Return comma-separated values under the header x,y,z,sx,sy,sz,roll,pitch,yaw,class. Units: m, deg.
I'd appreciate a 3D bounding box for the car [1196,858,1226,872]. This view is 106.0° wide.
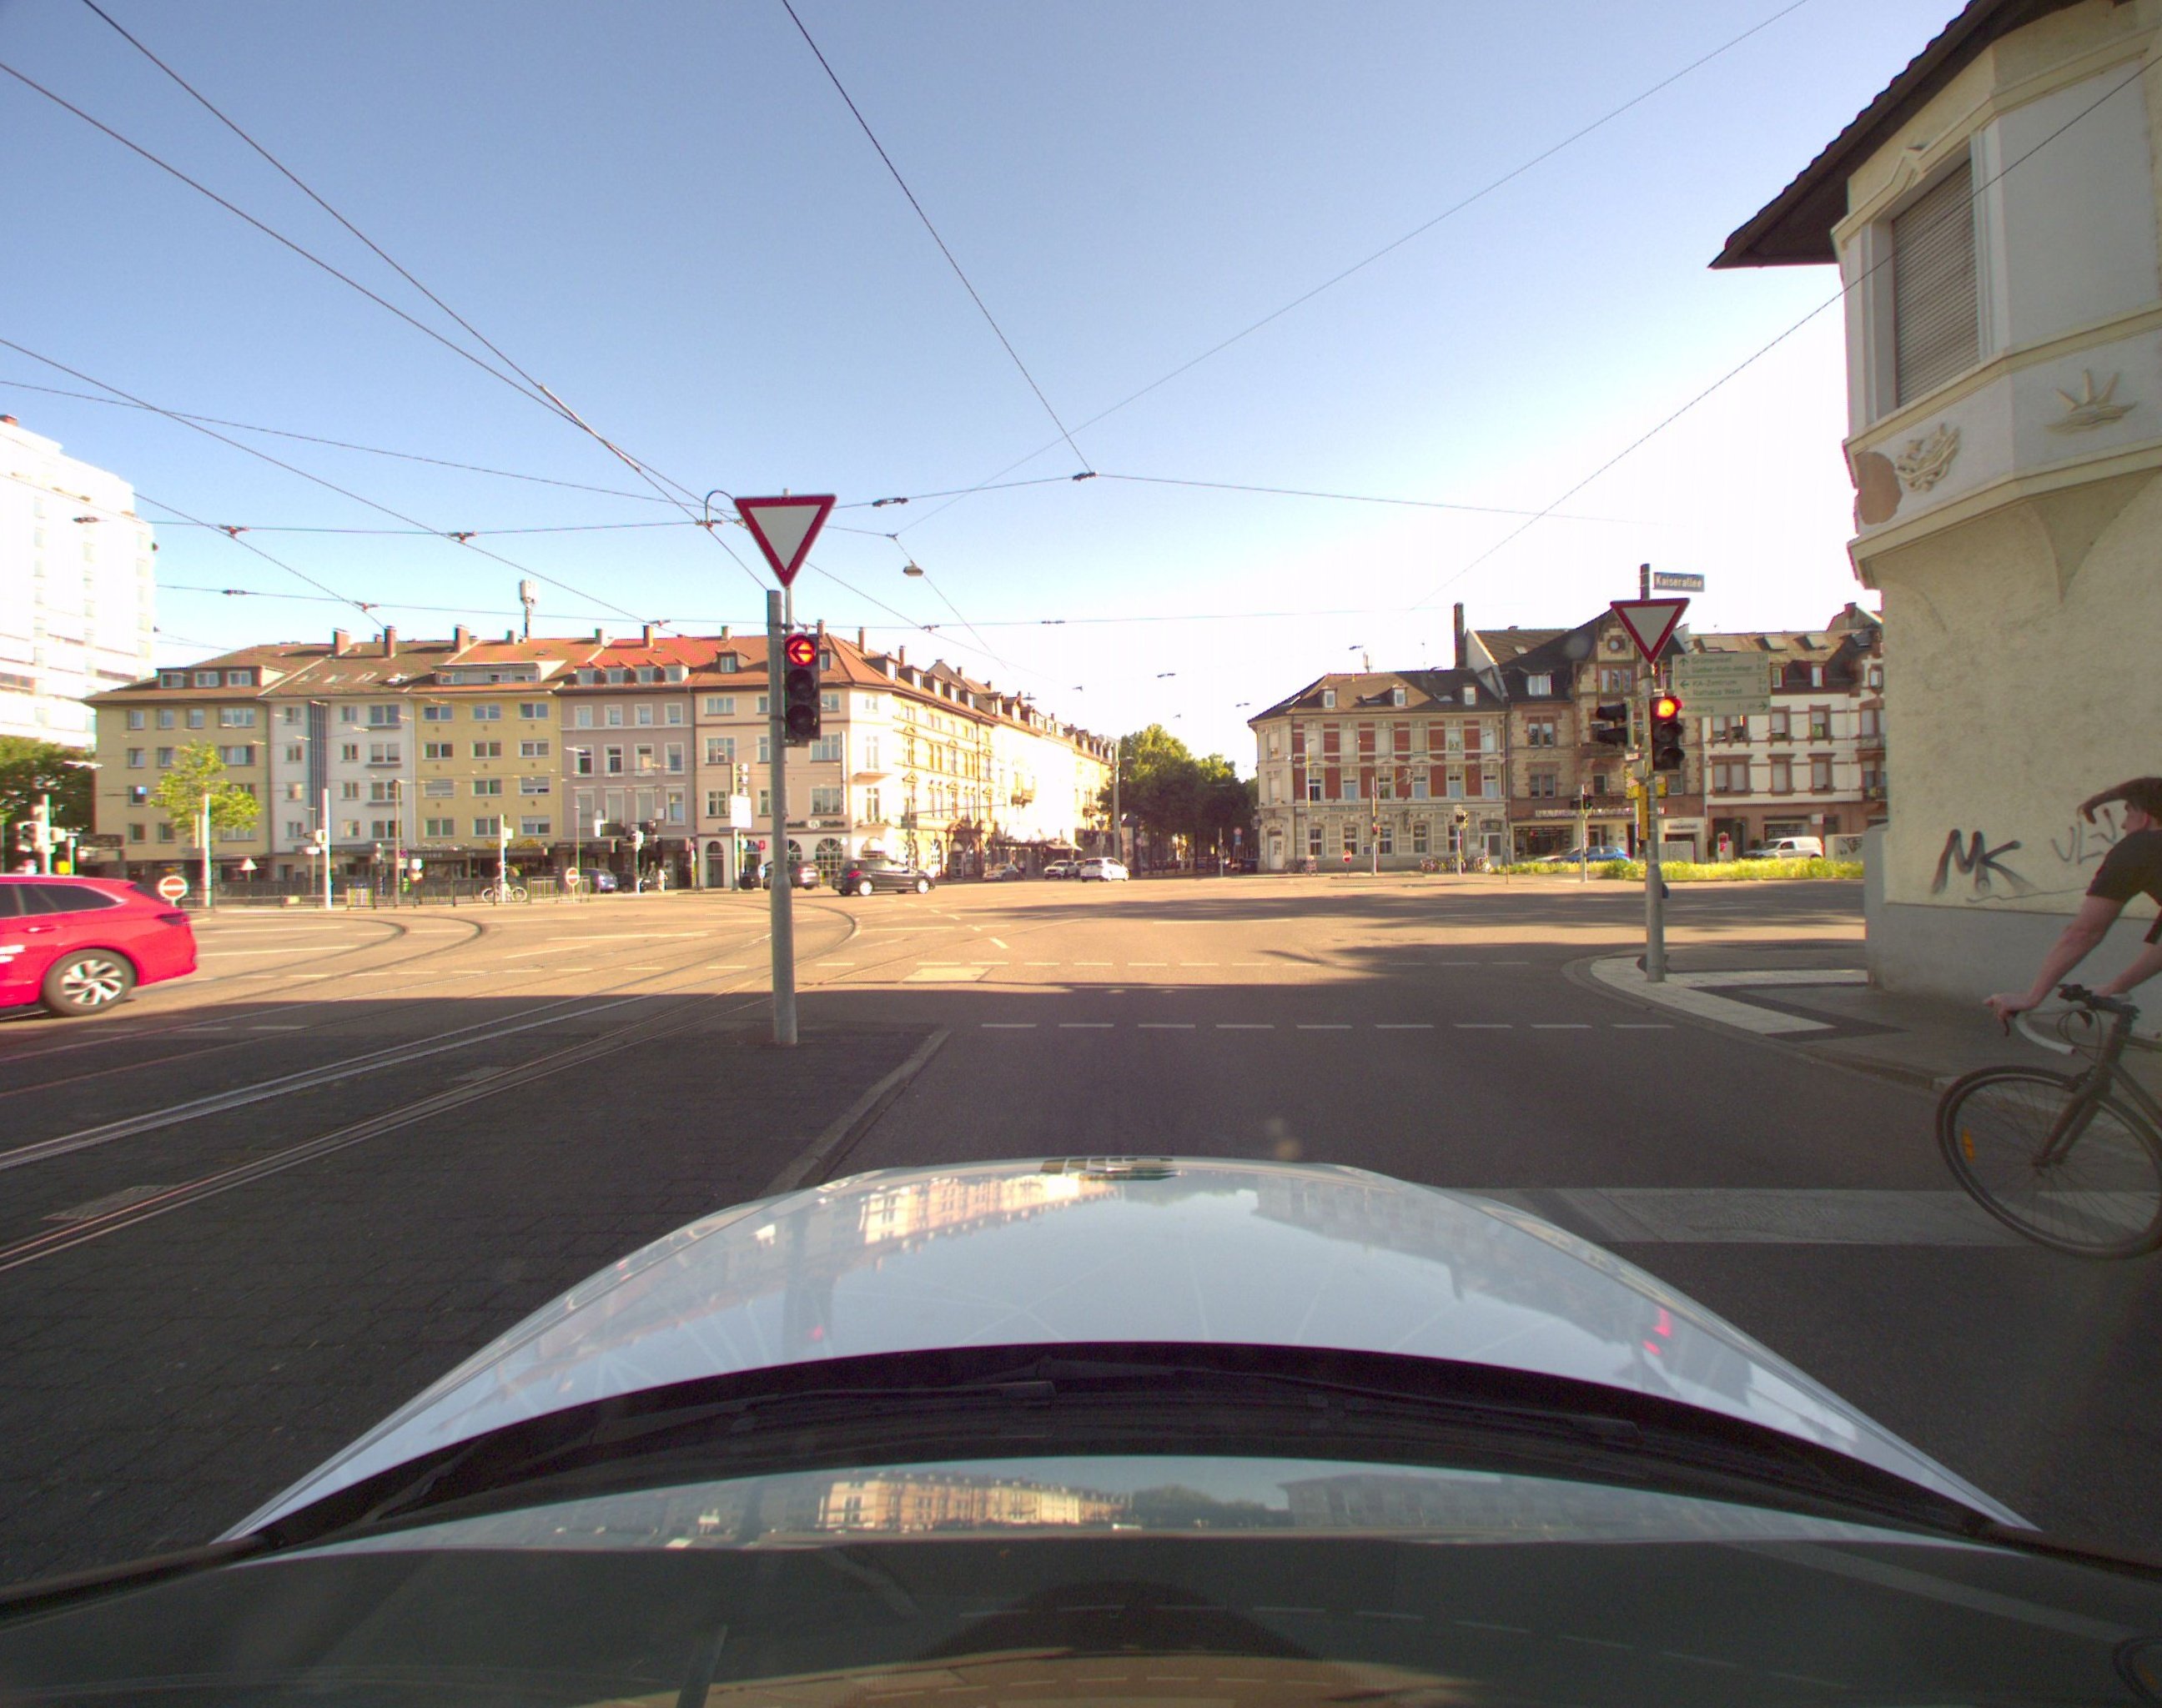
x,y,z,sx,sy,sz,roll,pitch,yaw,class
18.340,1.558,114.728,3.955,1.904,2.009,-1,-1,17,car

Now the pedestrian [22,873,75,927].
x,y,z,sx,sy,sz,roll,pitch,yaw,class
-31.553,1.392,24.899,0.697,1.634,0.681,0,-1,-3,pedestrian

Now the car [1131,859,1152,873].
x,y,z,sx,sy,sz,roll,pitch,yaw,class
8.399,1.614,112.696,1.977,1.904,4.019,-1,-1,19,car

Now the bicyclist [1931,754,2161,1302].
x,y,z,sx,sy,sz,roll,pitch,yaw,class
3.569,0.510,2.586,0.803,1.606,0.883,0,-1,0,bicyclist

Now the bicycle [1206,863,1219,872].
x,y,z,sx,sy,sz,roll,pitch,yaw,class
15.995,1.646,98.867,0.630,1.085,1.687,0,-1,-28,bicycle

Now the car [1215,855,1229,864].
x,y,z,sx,sy,sz,roll,pitch,yaw,class
23.245,0.910,134.228,1.546,1.513,3.673,-1,-1,19,car

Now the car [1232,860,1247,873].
x,y,z,sx,sy,sz,roll,pitch,yaw,class
19.751,1.529,101.554,1.680,1.565,3.855,-1,-1,14,car

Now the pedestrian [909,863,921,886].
x,y,z,sx,sy,sz,roll,pitch,yaw,class
-12.207,1.510,59.876,0.539,1.631,0.709,-1,-1,15,pedestrian

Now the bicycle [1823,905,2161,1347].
x,y,z,sx,sy,sz,roll,pitch,yaw,class
3.555,0.832,2.638,0.752,1.236,1.702,0,-1,0,bicycle

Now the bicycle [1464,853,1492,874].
x,y,z,sx,sy,sz,roll,pitch,yaw,class
25.502,0.610,52.386,0.626,1.287,2.663,0,-1,3,bicycle

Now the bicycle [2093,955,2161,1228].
x,y,z,sx,sy,sz,roll,pitch,yaw,class
4.486,0.929,2.480,0.647,1.031,1.772,0,-1,3,bicycle

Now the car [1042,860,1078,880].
x,y,z,sx,sy,sz,roll,pitch,yaw,class
-1.718,1.328,67.455,1.979,1.618,4.015,-1,-1,14,car

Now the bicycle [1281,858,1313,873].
x,y,z,sx,sy,sz,roll,pitch,yaw,class
15.082,0.786,56.894,2.040,0.998,0.631,0,-1,4,bicycle

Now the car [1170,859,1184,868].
x,y,z,sx,sy,sz,roll,pitch,yaw,class
16.082,1.562,136.185,1.546,1.513,3.673,-1,-1,19,car

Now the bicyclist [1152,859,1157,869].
x,y,z,sx,sy,sz,roll,pitch,yaw,class
10.269,1.393,113.982,0.621,1.266,0.561,-1,-1,18,bicyclist

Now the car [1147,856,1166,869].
x,y,z,sx,sy,sz,roll,pitch,yaw,class
11.338,1.324,122.473,1.977,1.904,4.019,-1,-1,19,car

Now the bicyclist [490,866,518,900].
x,y,z,sx,sy,sz,roll,pitch,yaw,class
-24.018,1.194,33.904,0.553,1.366,0.808,-1,-1,33,bicyclist

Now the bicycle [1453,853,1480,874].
x,y,z,sx,sy,sz,roll,pitch,yaw,class
24.775,0.620,52.391,0.626,1.287,2.663,0,-1,3,bicycle

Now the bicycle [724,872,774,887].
x,y,z,sx,sy,sz,roll,pitch,yaw,class
-23.425,1.784,57.469,3.118,0.980,1.002,0,-1,1,bicycle

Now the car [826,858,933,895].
x,y,z,sx,sy,sz,roll,pitch,yaw,class
-8.095,0.875,32.881,3.877,1.362,1.738,0,-1,-42,car

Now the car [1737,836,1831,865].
x,y,z,sx,sy,sz,roll,pitch,yaw,class
45.311,-0.223,52.572,4.349,1.778,2.000,0,-1,1,car

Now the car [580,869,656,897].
x,y,z,sx,sy,sz,roll,pitch,yaw,class
-30.589,1.912,53.821,3.962,1.670,2.006,-2,0,10,car

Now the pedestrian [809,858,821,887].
x,y,z,sx,sy,sz,roll,pitch,yaw,class
-17.293,1.191,53.011,0.631,1.881,0.465,0,-1,-2,pedestrian

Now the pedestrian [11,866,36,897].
x,y,z,sx,sy,sz,roll,pitch,yaw,class
-55.005,1.420,42.366,0.523,1.628,0.577,0,-1,0,pedestrian

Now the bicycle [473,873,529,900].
x,y,z,sx,sy,sz,roll,pitch,yaw,class
-24.073,1.344,33.819,0.567,1.070,1.806,-1,-1,32,bicycle

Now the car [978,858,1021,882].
x,y,z,sx,sy,sz,roll,pitch,yaw,class
-6.719,1.298,67.439,1.977,1.904,4.019,-1,-1,19,car

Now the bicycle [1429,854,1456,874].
x,y,z,sx,sy,sz,roll,pitch,yaw,class
23.261,0.625,52.425,0.689,1.287,2.663,0,-1,3,bicycle

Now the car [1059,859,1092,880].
x,y,z,sx,sy,sz,roll,pitch,yaw,class
-0.467,1.369,73.782,1.979,1.904,4.015,-1,-1,14,car

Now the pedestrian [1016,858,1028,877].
x,y,z,sx,sy,sz,roll,pitch,yaw,class
-4.760,1.102,65.493,0.814,1.512,0.601,-1,-1,16,pedestrian

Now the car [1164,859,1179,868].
x,y,z,sx,sy,sz,roll,pitch,yaw,class
14.660,1.555,131.773,1.546,1.513,3.673,-1,-1,19,car

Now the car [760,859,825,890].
x,y,z,sx,sy,sz,roll,pitch,yaw,class
-15.939,1.084,44.872,1.964,1.618,4.129,0,-1,-42,car

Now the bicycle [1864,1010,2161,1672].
x,y,z,sx,sy,sz,roll,pitch,yaw,class
2.306,0.930,1.155,0.625,1.085,1.698,0,-1,-8,bicycle

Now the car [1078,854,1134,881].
x,y,z,sx,sy,sz,roll,pitch,yaw,class
1.539,0.771,48.707,1.755,1.530,4.024,-1,-1,29,car

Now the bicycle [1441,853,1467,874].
x,y,z,sx,sy,sz,roll,pitch,yaw,class
23.984,0.615,52.419,0.626,1.287,2.663,0,-1,3,bicycle

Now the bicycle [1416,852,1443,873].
x,y,z,sx,sy,sz,roll,pitch,yaw,class
22.419,0.552,52.430,0.689,1.287,2.663,0,-1,3,bicycle

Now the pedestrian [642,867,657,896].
x,y,z,sx,sy,sz,roll,pitch,yaw,class
-24.161,1.528,45.615,0.632,1.612,0.464,0,-1,-5,pedestrian

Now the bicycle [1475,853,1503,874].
x,y,z,sx,sy,sz,roll,pitch,yaw,class
26.197,0.613,52.358,0.626,1.287,2.663,0,-1,3,bicycle

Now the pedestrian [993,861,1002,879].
x,y,z,sx,sy,sz,roll,pitch,yaw,class
-7.448,1.406,72.472,0.539,1.631,0.709,-1,-1,15,pedestrian

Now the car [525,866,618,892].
x,y,z,sx,sy,sz,roll,pitch,yaw,class
-28.691,1.401,45.972,3.979,1.376,1.997,0,-1,-4,car

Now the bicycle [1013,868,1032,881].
x,y,z,sx,sy,sz,roll,pitch,yaw,class
-4.732,1.632,65.561,0.756,1.008,2.406,-1,-1,16,bicycle

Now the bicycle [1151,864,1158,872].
x,y,z,sx,sy,sz,roll,pitch,yaw,class
10.307,1.899,114.046,0.621,1.085,1.710,-1,-1,18,bicycle

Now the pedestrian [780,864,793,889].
x,y,z,sx,sy,sz,roll,pitch,yaw,class
-19.136,1.442,52.896,0.631,1.612,0.465,0,-1,-2,pedestrian

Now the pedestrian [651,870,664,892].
x,y,z,sx,sy,sz,roll,pitch,yaw,class
-28.824,1.826,55.388,0.631,1.477,0.465,0,-1,-2,pedestrian

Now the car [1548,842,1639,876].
x,y,z,sx,sy,sz,roll,pitch,yaw,class
28.343,0.273,45.142,3.769,1.778,2.000,0,-1,1,car

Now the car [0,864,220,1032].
x,y,z,sx,sy,sz,roll,pitch,yaw,class
-10.937,0.911,6.908,1.898,1.522,4.772,-3,0,5,car

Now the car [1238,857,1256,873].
x,y,z,sx,sy,sz,roll,pitch,yaw,class
16.819,1.140,82.366,1.680,1.565,3.855,-1,-1,14,car
